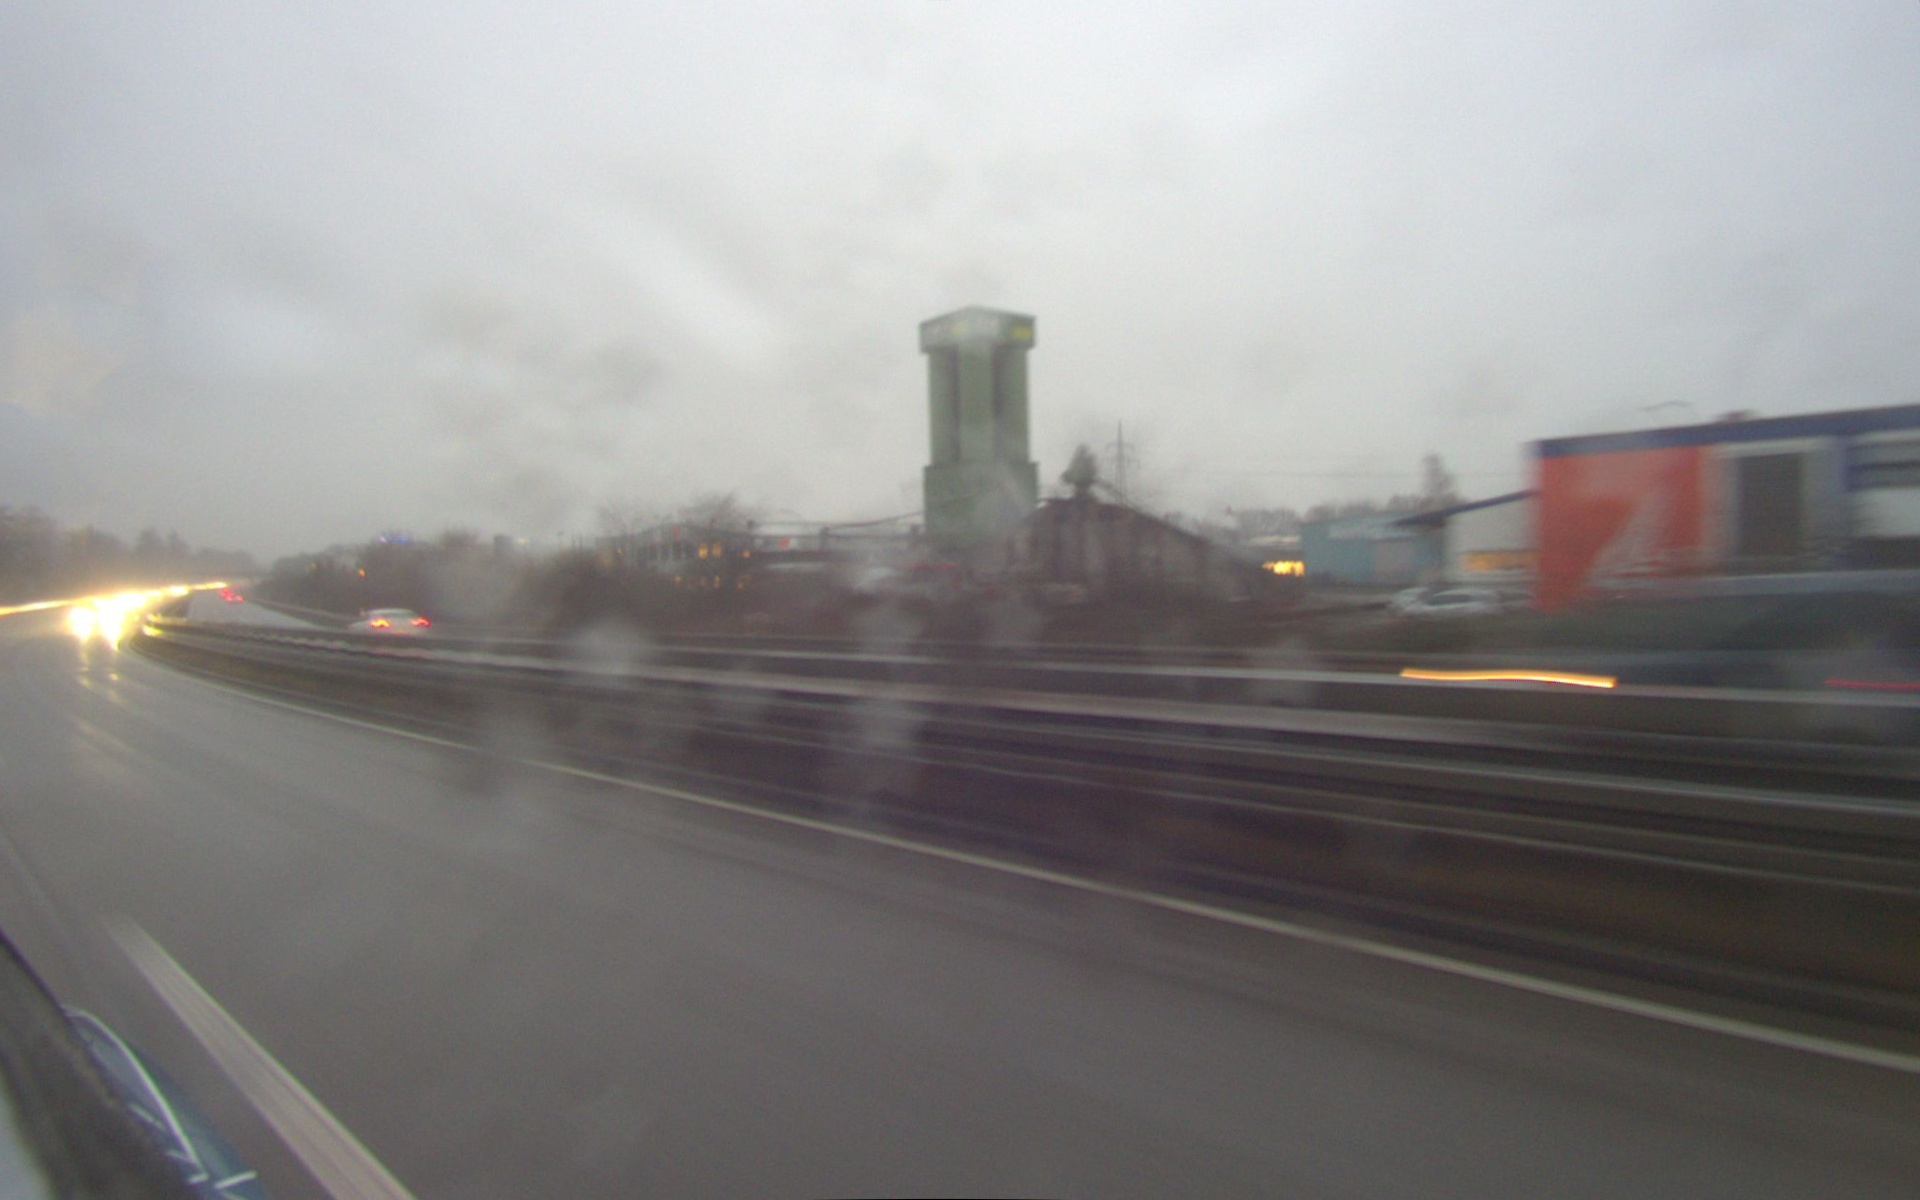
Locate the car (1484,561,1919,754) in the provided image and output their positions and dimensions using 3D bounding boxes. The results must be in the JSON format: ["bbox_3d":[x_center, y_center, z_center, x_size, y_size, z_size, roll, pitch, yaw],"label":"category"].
[{"bbox_3d":[8.116,0.526,10.469,4.428,1.685,1.972,-1,-1,43],"label":"car"}]

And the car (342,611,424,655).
[{"bbox_3d":[-23.786,1.299,41.624,1.773,1.696,4.691,1,-1,-45],"label":"car"}]

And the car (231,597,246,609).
[{"bbox_3d":[-110.333,0.433,154.724,1.740,1.638,4.538,-4,2,-35],"label":"car"}]

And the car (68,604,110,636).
[{"bbox_3d":[-60.439,1.348,70.300,1.968,2.028,4.008,-4,2,-39],"label":"car"}]

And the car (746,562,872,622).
[{"bbox_3d":[-9.095,-0.387,59.721,3.150,3.235,9.963,1,-1,-35],"label":"car"}]
